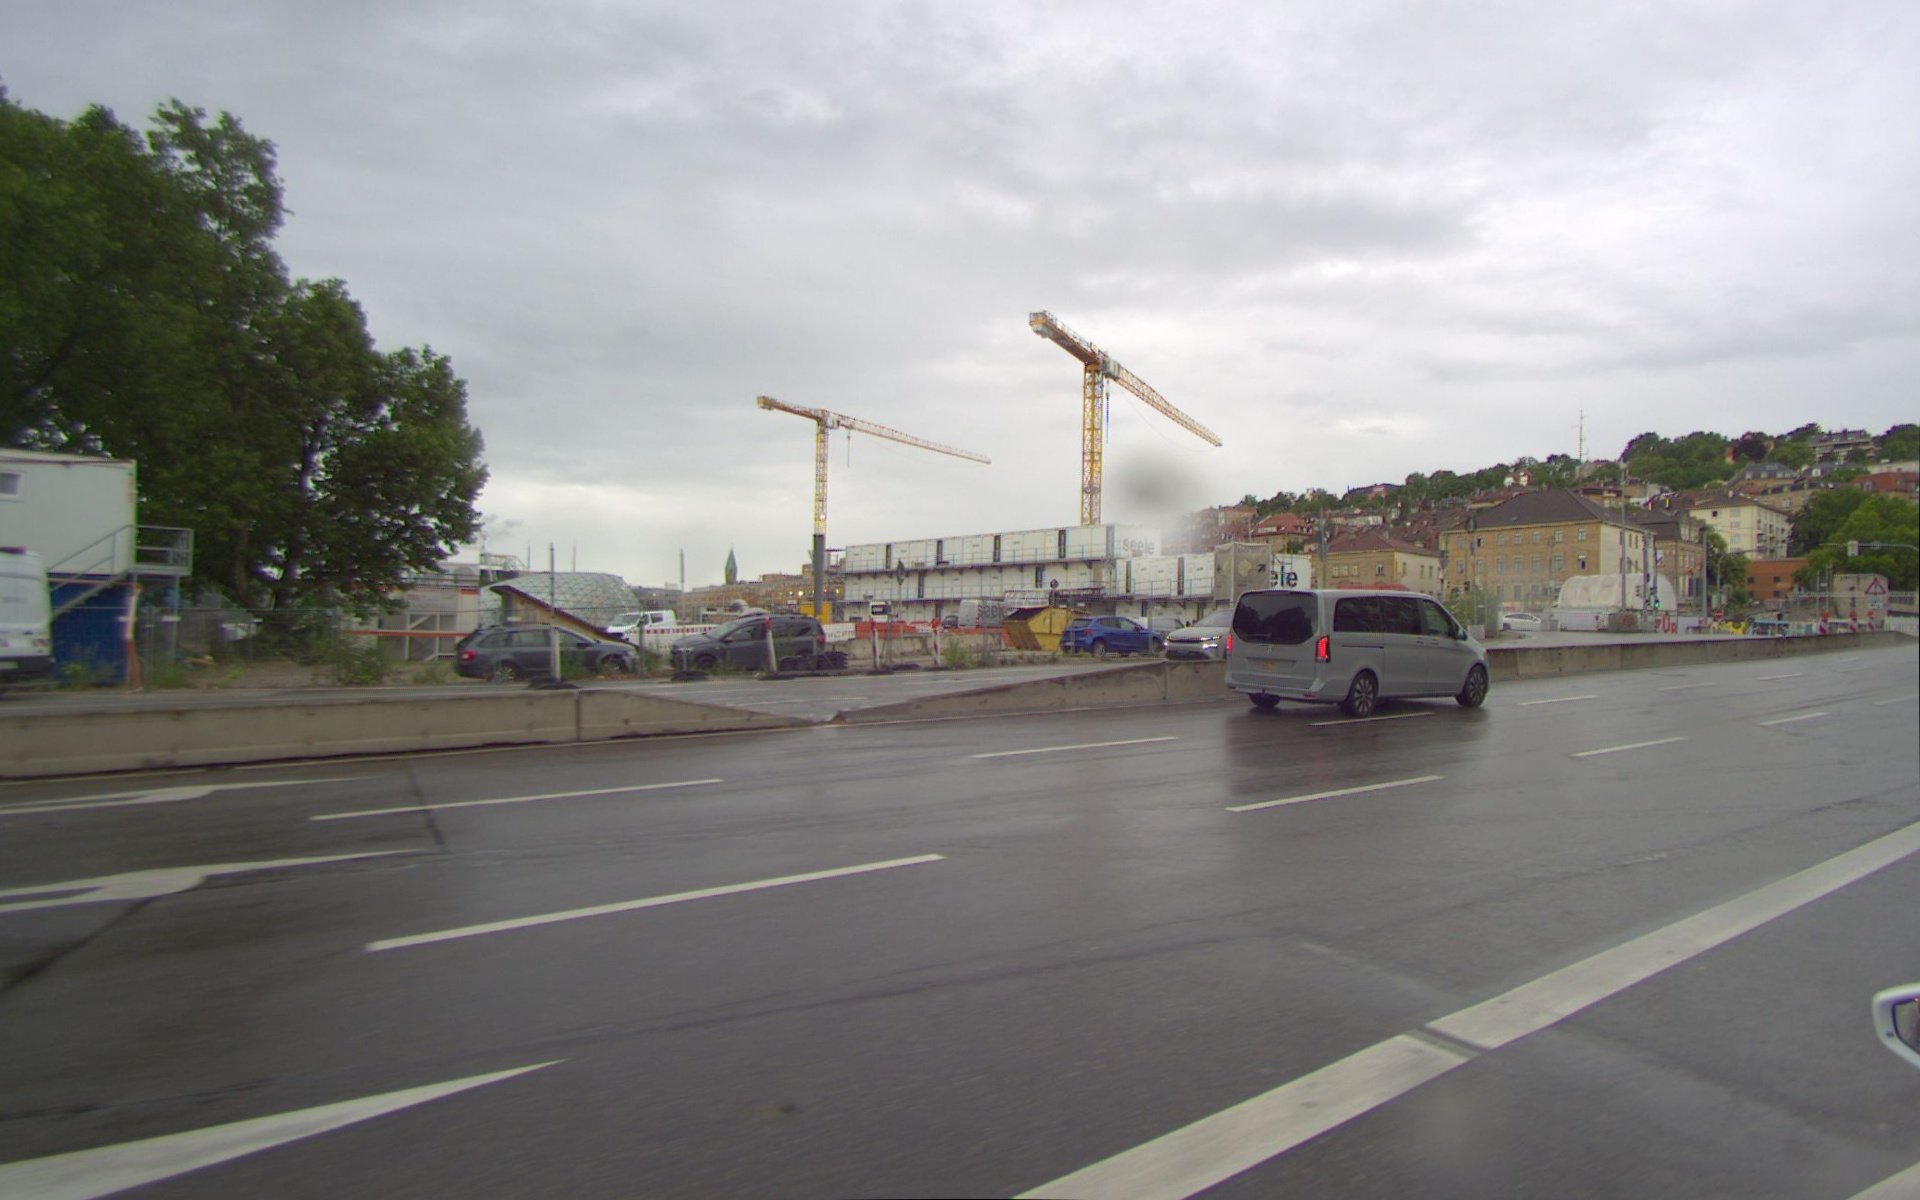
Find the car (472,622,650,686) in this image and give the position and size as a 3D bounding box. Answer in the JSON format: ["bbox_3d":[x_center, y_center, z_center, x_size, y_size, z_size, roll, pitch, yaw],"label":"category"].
[{"bbox_3d":[-10.532,1.380,26.585,4.131,1.586,1.751,1,-2,-34],"label":"car"}]

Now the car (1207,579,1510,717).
[{"bbox_3d":[6.489,0.756,16.065,5.307,1.880,1.980,3,-2,-36],"label":"car"}]

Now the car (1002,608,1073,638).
[{"bbox_3d":[5.396,1.581,69.508,1.973,2.040,5.279,-1,-2,45],"label":"car"}]

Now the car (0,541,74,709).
[{"bbox_3d":[-19.749,0.375,17.667,5.942,2.912,1.997,2,-3,-9],"label":"car"}]

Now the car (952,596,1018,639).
[{"bbox_3d":[1.894,1.333,73.177,1.969,2.867,5.292,-1,-4,38],"label":"car"}]

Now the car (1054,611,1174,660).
[{"bbox_3d":[5.509,1.231,35.818,3.956,1.643,1.983,1,-1,-33],"label":"car"}]

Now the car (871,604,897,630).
[{"bbox_3d":[-6.253,1.444,82.135,1.962,2.051,5.308,0,-2,-6],"label":"car"}]

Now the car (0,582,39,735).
[{"bbox_3d":[-13.079,0.546,10.424,4.887,1.683,2.025,4,-4,-36],"label":"car"}]

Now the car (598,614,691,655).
[{"bbox_3d":[-18.335,1.993,58.653,2.086,2.258,5.347,0,-2,24],"label":"car"}]

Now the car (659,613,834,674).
[{"bbox_3d":[-6.151,1.283,29.019,4.623,1.586,1.756,3,-4,-27],"label":"car"}]

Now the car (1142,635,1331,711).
[{"bbox_3d":[7.240,1.884,25.983,5.251,1.778,1.979,4,-4,-37],"label":"car"}]
